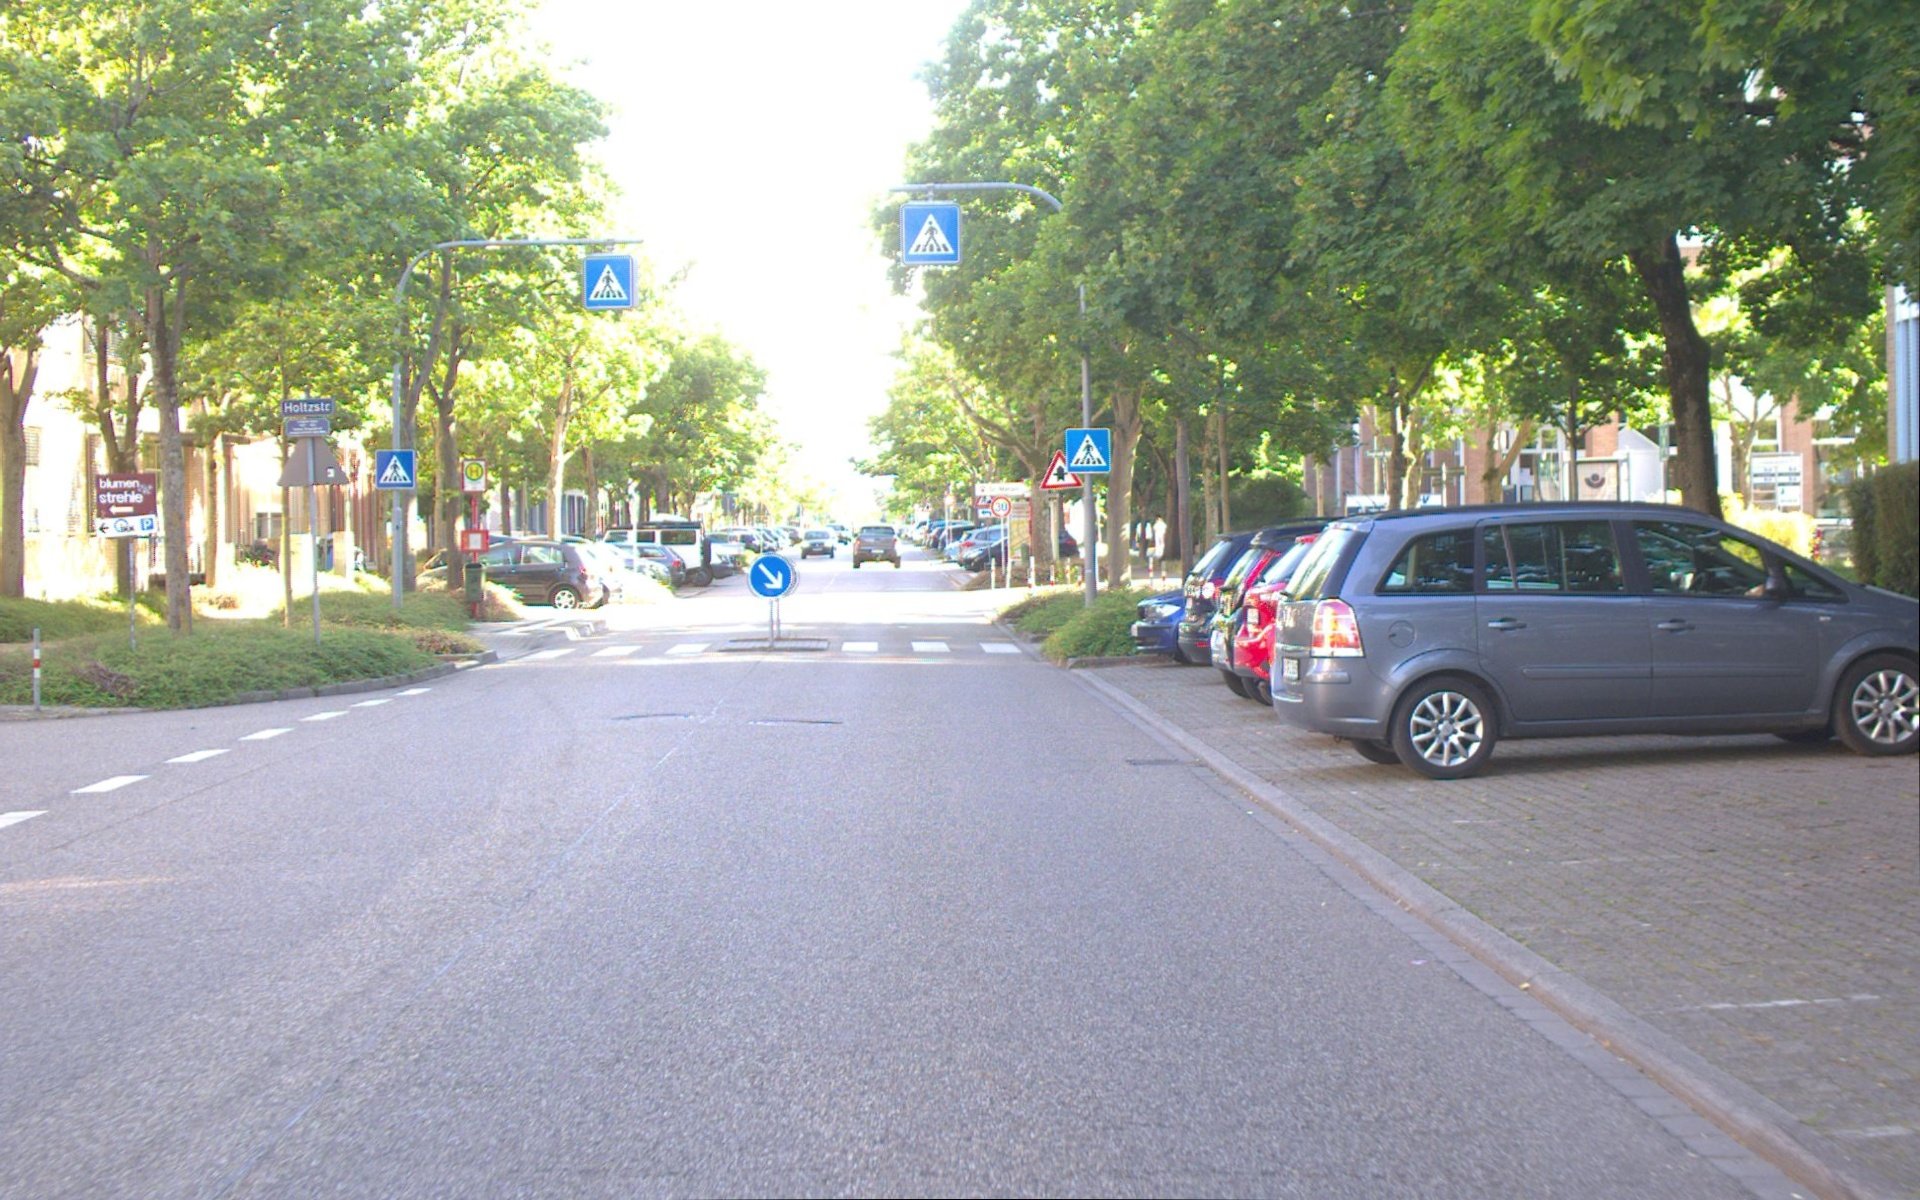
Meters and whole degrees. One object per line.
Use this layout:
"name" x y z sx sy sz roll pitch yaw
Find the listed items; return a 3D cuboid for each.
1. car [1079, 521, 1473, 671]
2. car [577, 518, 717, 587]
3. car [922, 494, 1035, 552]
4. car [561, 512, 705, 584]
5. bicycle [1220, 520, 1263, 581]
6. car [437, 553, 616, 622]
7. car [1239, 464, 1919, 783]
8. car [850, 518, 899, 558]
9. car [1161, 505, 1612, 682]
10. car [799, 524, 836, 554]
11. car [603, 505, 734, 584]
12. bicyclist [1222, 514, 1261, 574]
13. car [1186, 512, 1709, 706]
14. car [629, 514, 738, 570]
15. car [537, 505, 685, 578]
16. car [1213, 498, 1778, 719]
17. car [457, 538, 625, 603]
"car" 3.579 -0.060 39.406 4.190 1.468 1.813 -3 1 -4
"car" -9.634 -1.480 106.003 3.987 2.007 2.000 -2 1 3
"car" 0.667 -2.799 125.635 3.986 2.007 2.000 -2 1 -3
"car" -9.786 -1.565 103.015 3.987 2.007 2.000 -2 1 3
"bicycle" 5.812 -1.034 70.896 0.684 1.210 1.975 -1 1 10
"car" -9.534 -0.287 75.634 3.847 1.468 1.813 0 1 -7
"car" 4.055 0.104 21.270 4.350 1.698 1.813 -3 1 -4
"car" -3.559 -2.603 143.426 1.993 1.634 4.000 0 1 -1
"car" 4.263 -0.085 34.756 4.190 1.530 1.813 -3 1 -4
"car" -7.588 -3.250 182.958 1.813 1.519 4.000 -2 1 0
"car" -9.406 -1.794 111.078 3.987 2.532 1.862 0 1 4
"bicyclist" 5.807 -1.154 70.889 0.698 1.210 0.945 -1 1 10
"car" 4.218 0.056 30.156 4.190 1.443 1.813 -3 1 -4
"car" -10.468 -2.190 130.322 3.986 2.007 2.000 -2 1 -3
"car" -10.182 -1.724 100.461 3.987 2.007 2.000 -2 1 3
"car" 4.303 0.046 28.014 4.190 1.530 1.813 -3 1 -4
"car" -9.760 -0.699 80.152 3.847 1.468 1.813 0 1 -7
